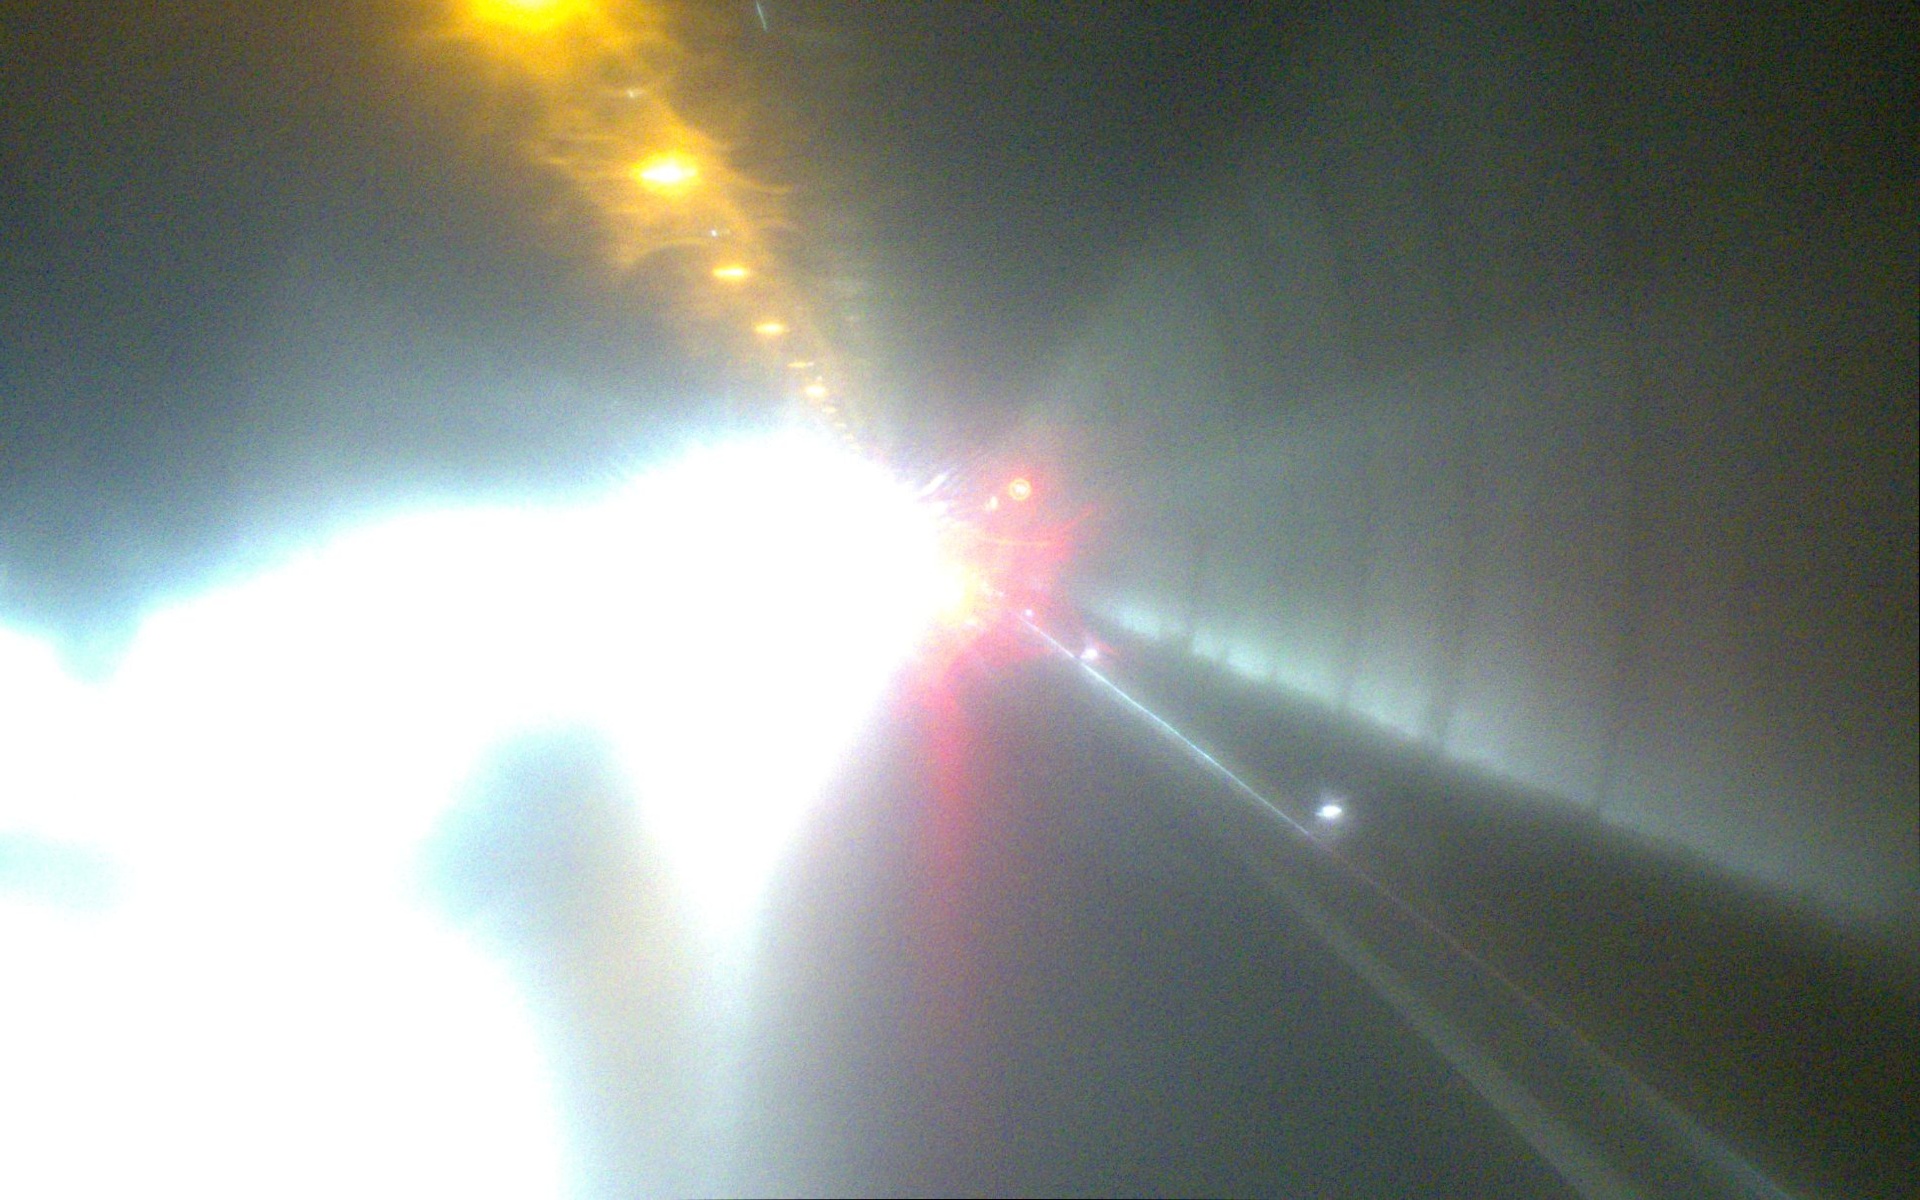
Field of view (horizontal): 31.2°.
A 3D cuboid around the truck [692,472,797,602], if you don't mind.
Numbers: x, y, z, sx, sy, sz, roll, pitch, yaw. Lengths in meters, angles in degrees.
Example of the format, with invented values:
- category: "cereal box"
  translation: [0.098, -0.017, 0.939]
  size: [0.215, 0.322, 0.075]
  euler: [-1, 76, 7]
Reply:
- category: "truck"
  translation: [-5.162, -1.528, 83.147]
  size: [2.279, 3.006, 6.594]
  euler: [1, 1, -2]

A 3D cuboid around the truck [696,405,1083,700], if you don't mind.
- category: "truck"
  translation: [-0.673, -0.507, 35.965]
  size: [3.535, 2.684, 8.956]
  euler: [0, 1, 0]

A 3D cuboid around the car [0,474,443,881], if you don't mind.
- category: "car"
  translation: [-3.708, 0.319, 17.093]
  size: [1.729, 1.786, 3.932]
  euler: [0, 1, -1]
